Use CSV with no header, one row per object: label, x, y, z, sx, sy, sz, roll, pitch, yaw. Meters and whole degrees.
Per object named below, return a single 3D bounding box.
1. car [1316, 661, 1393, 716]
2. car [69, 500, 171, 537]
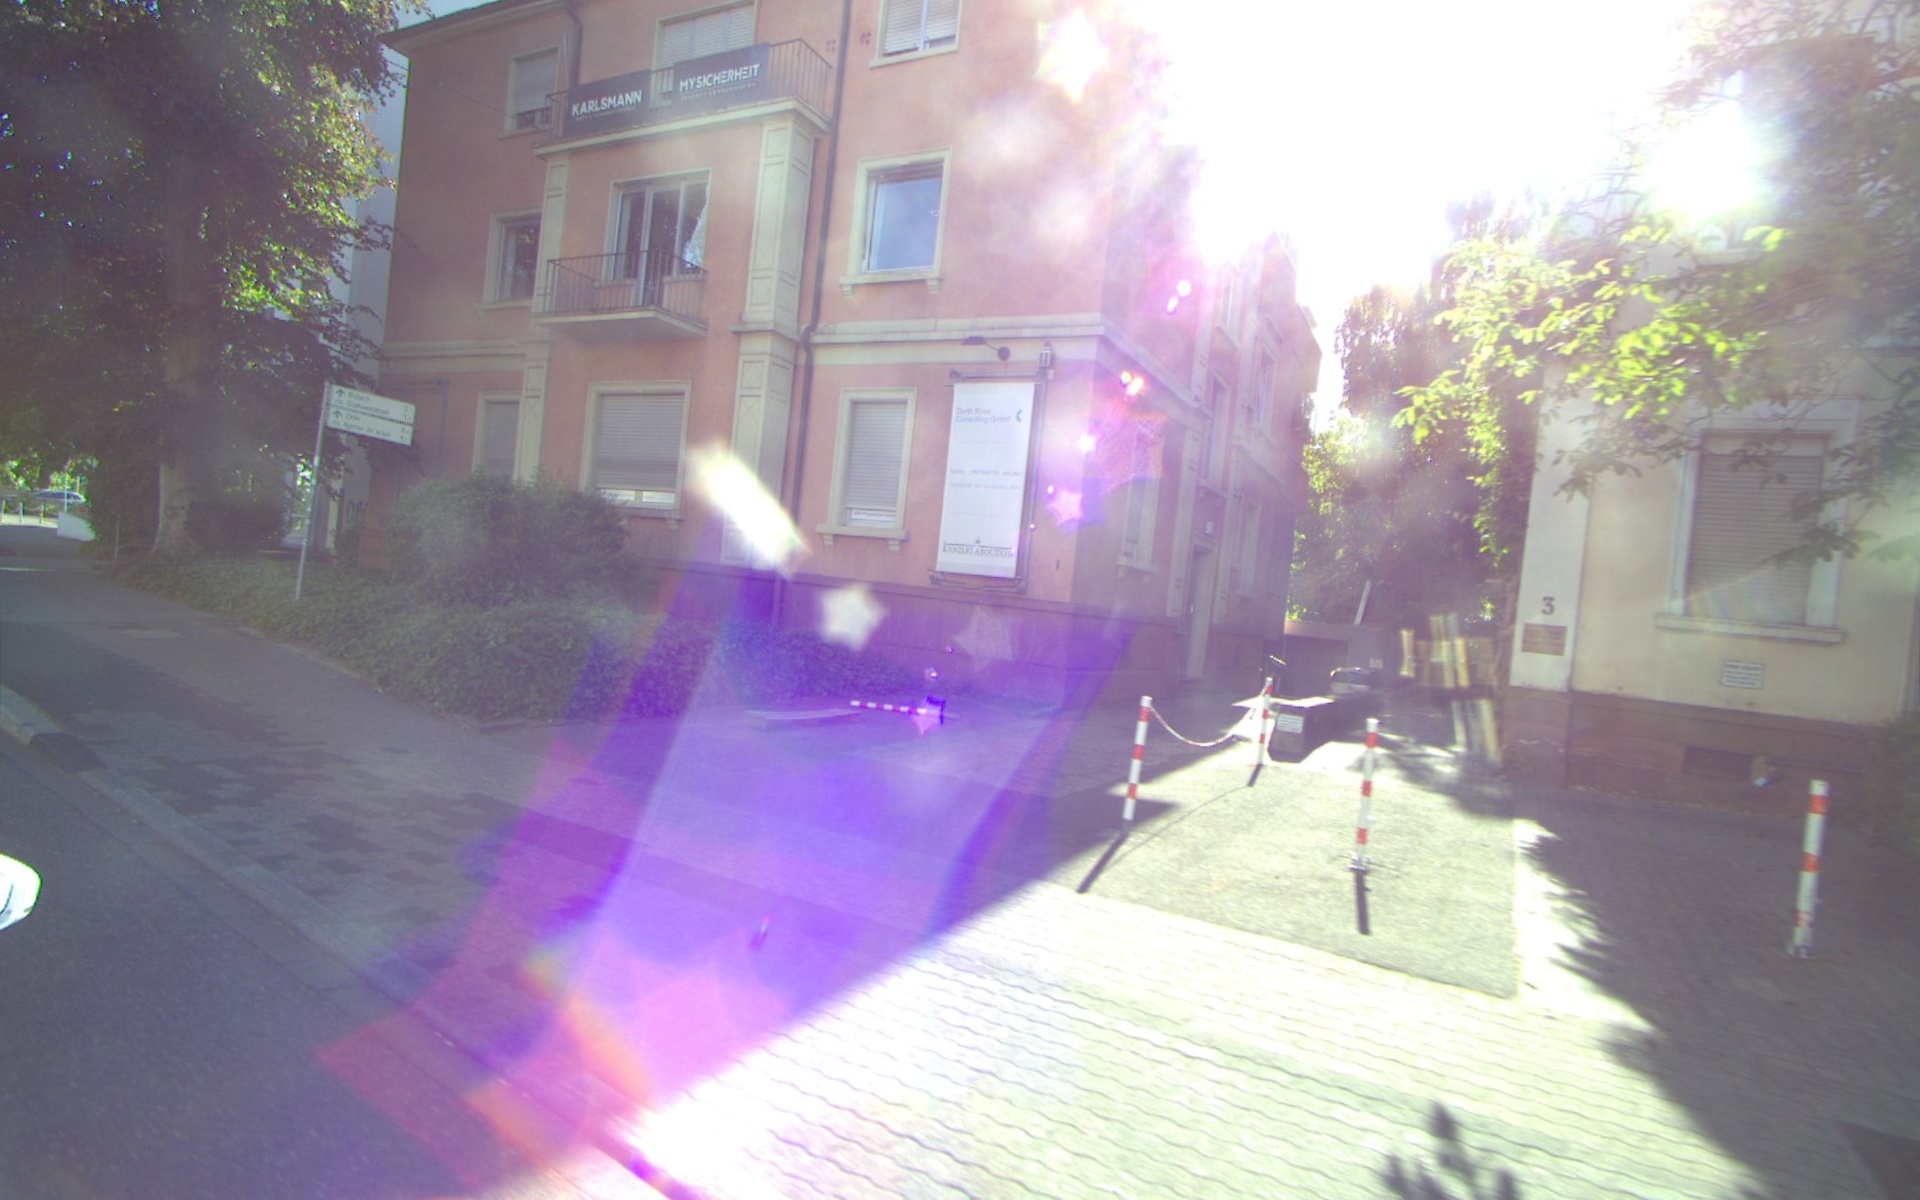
car,12.480,2.811,31.692,1.647,1.425,3.640,7,-2,29
car,-46.211,-4.441,55.417,1.745,1.471,3.882,7,0,23
